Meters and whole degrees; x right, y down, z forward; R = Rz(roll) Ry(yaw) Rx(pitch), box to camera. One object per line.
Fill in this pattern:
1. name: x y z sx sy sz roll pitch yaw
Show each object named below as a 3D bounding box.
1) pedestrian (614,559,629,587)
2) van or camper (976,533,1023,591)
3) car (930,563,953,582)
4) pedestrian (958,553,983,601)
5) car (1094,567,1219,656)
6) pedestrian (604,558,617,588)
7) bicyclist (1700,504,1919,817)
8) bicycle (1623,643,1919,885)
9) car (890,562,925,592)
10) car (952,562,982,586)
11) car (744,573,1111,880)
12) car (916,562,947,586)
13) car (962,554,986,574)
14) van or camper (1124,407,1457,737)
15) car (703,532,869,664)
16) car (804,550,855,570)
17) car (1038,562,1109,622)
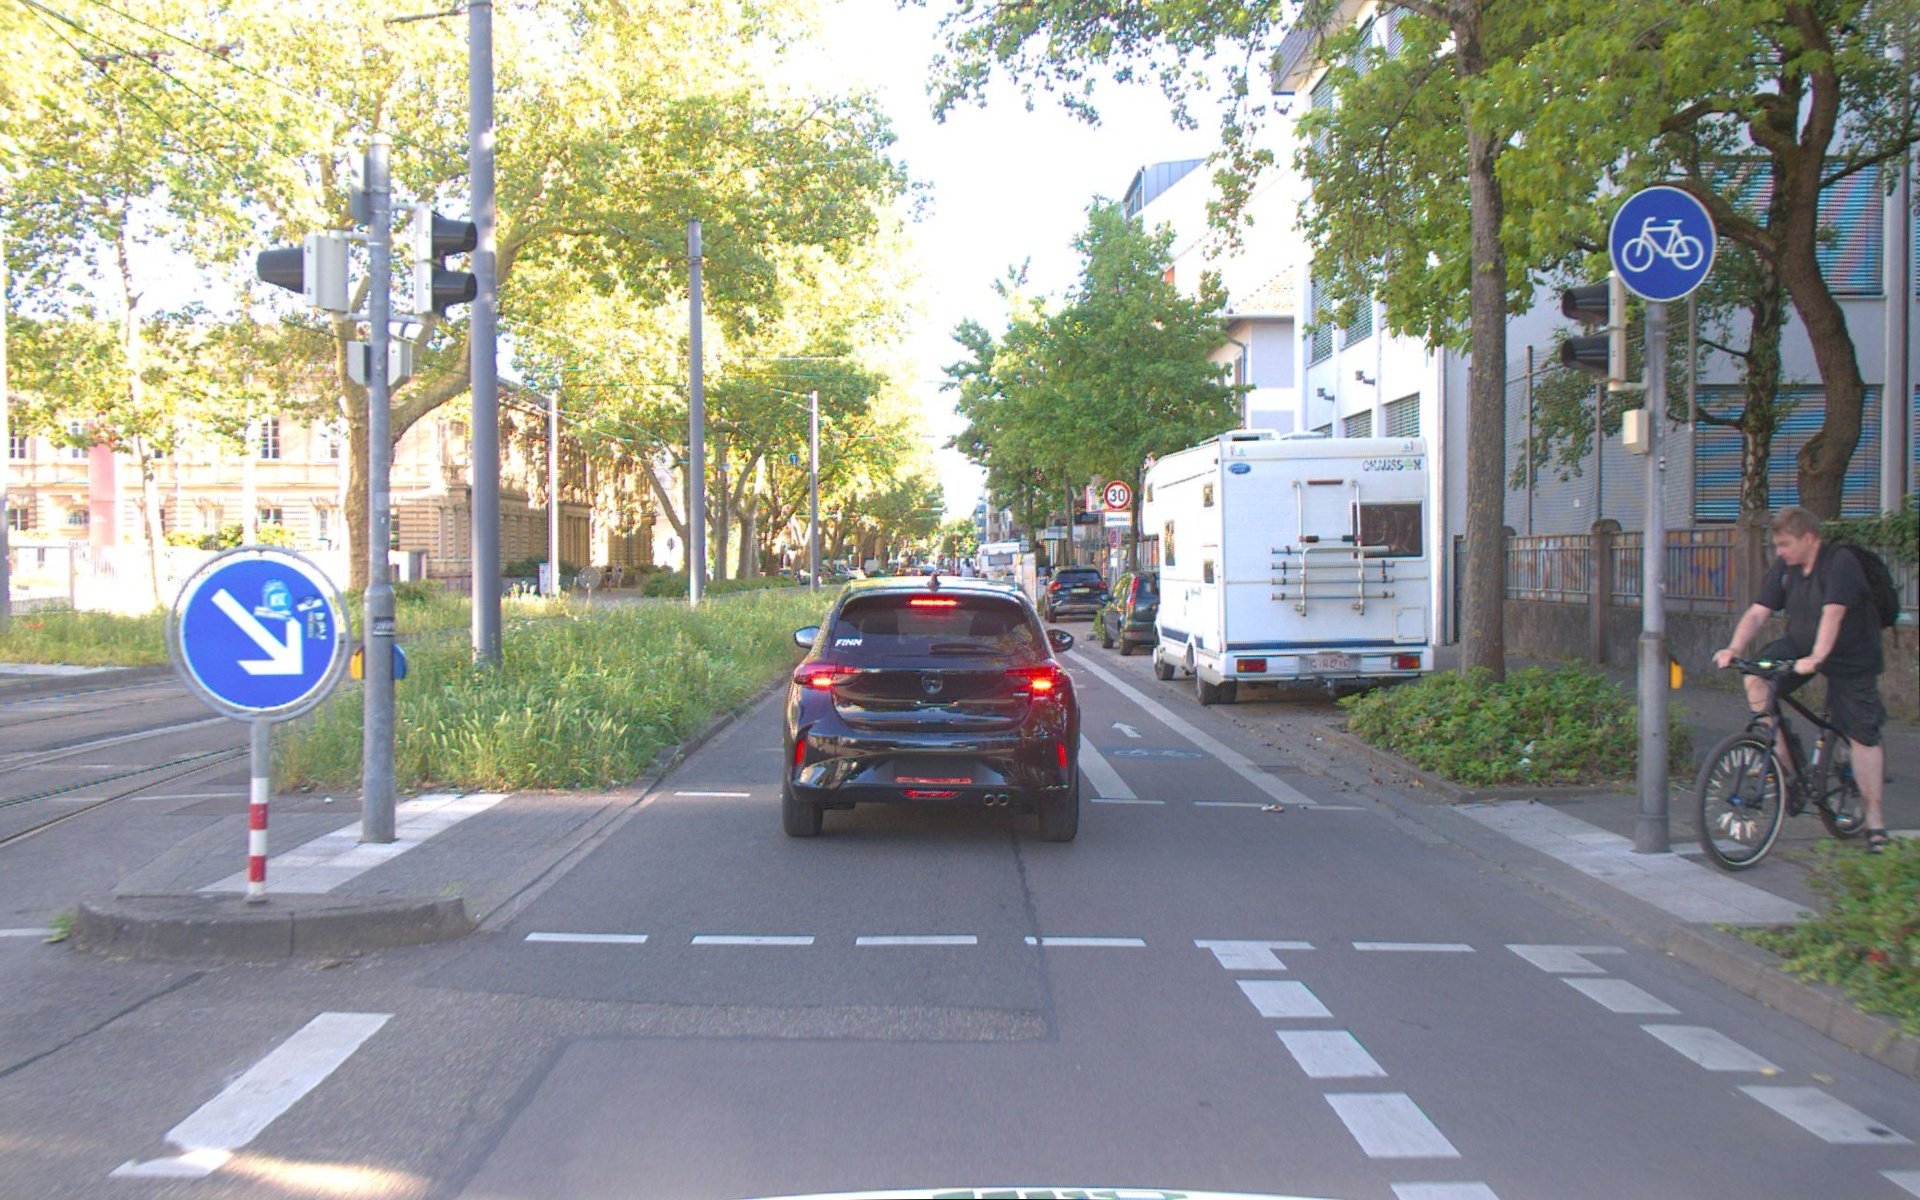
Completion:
1. pedestrian: -19.909 -1.592 97.299 0.645 1.650 0.615 3 2 -1
2. van or camper: 2.226 -2.187 93.600 2.435 3.045 5.436 2 2 1
3. car: -1.571 -2.343 140.381 1.866 1.450 4.217 1 2 1
4. pedestrian: 0.439 -1.007 71.510 1.015 2.059 1.212 1 2 -1
5. car: 3.520 0.156 30.256 1.652 1.445 4.047 0 2 -2
6. pedestrian: -20.555 -1.593 97.264 0.605 1.763 0.596 3 2 -1
7. bicyclist: 4.407 0.282 8.574 0.691 1.536 0.745 0 2 -25
8. bicycle: 4.394 0.799 8.569 1.920 1.088 0.636 0 2 -25
9. car: -2.873 -1.298 91.205 1.753 1.536 3.875 -1 2 0
10. car: 0.485 -1.713 108.068 1.866 1.450 4.217 1 2 1
11. car: -0.137 0.613 10.568 1.866 1.450 4.217 1 2 1
12. car: -1.848 -1.704 108.527 1.866 1.450 4.217 1 2 1
13. car: 1.097 -2.794 127.502 1.866 1.450 4.217 1 2 1
14. van or camper: 3.662 -0.414 20.175 2.327 3.179 7.551 -2 2 -1
15. car: -2.435 -0.102 24.164 1.953 1.655 4.470 3 2 -1
16. car: -14.918 -4.620 189.267 5.571 2.236 2.289 1 2 0
17. car: 3.195 -0.269 47.079 1.753 1.536 3.875 -1 2 0
